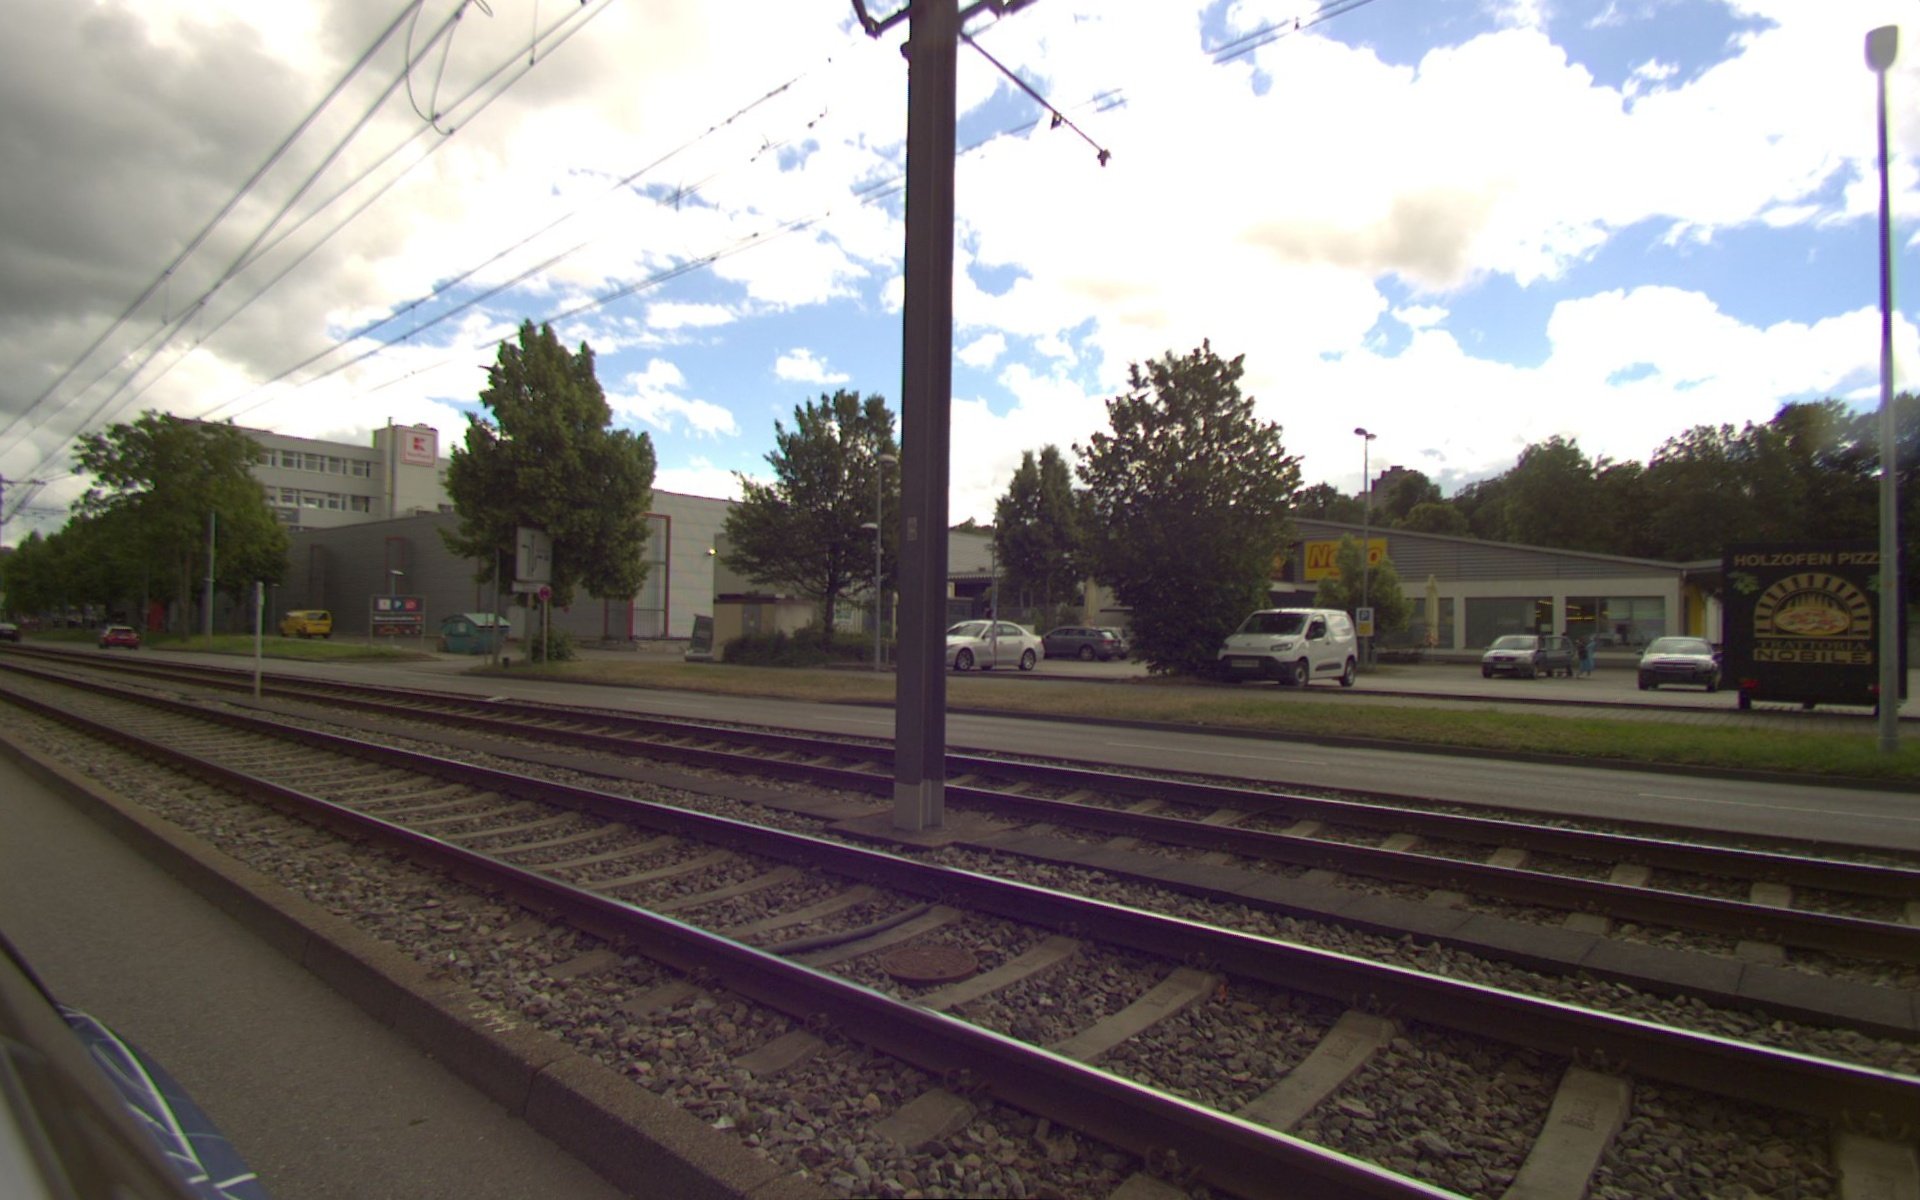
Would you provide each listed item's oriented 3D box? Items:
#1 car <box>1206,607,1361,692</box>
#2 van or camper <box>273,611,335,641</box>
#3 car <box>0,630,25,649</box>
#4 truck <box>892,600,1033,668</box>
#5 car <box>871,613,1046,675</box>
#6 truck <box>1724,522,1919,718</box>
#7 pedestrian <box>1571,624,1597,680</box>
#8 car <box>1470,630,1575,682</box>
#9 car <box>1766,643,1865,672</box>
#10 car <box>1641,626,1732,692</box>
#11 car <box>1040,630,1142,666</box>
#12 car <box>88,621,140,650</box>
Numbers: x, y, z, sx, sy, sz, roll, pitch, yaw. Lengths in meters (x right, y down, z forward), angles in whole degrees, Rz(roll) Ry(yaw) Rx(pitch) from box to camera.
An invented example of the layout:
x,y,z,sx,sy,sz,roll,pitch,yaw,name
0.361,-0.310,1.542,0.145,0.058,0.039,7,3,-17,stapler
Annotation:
x,y,z,sx,sy,sz,roll,pitch,yaw,name
7.443,1.114,23.045,1.993,1.740,4.179,-2,-3,39,car
-46.565,1.873,71.848,5.235,2.029,2.083,-1,-2,38,van or camper
-74.486,3.035,78.895,4.440,1.412,1.741,-1,-5,40,car
0.031,1.282,37.894,5.261,2.401,1.973,-2,-3,41,truck
0.033,1.266,29.415,2.651,1.641,4.730,-2,-3,41,car
14.320,0.383,16.905,2.373,2.843,3.948,-2,-3,38,truck
21.253,1.772,34.462,0.663,1.869,0.539,-2,-3,41,pedestrian
19.426,1.897,34.898,2.465,1.652,3.881,-1,-3,40,car
41.382,2.755,49.028,3.588,1.344,1.455,-1,-3,41,car
19.742,1.572,27.441,1.687,1.652,3.881,-1,-3,40,car
5.492,1.995,42.641,3.991,1.411,1.596,-1,-2,36,car
-53.850,2.264,64.392,3.996,1.785,1.774,-1,-2,39,car
